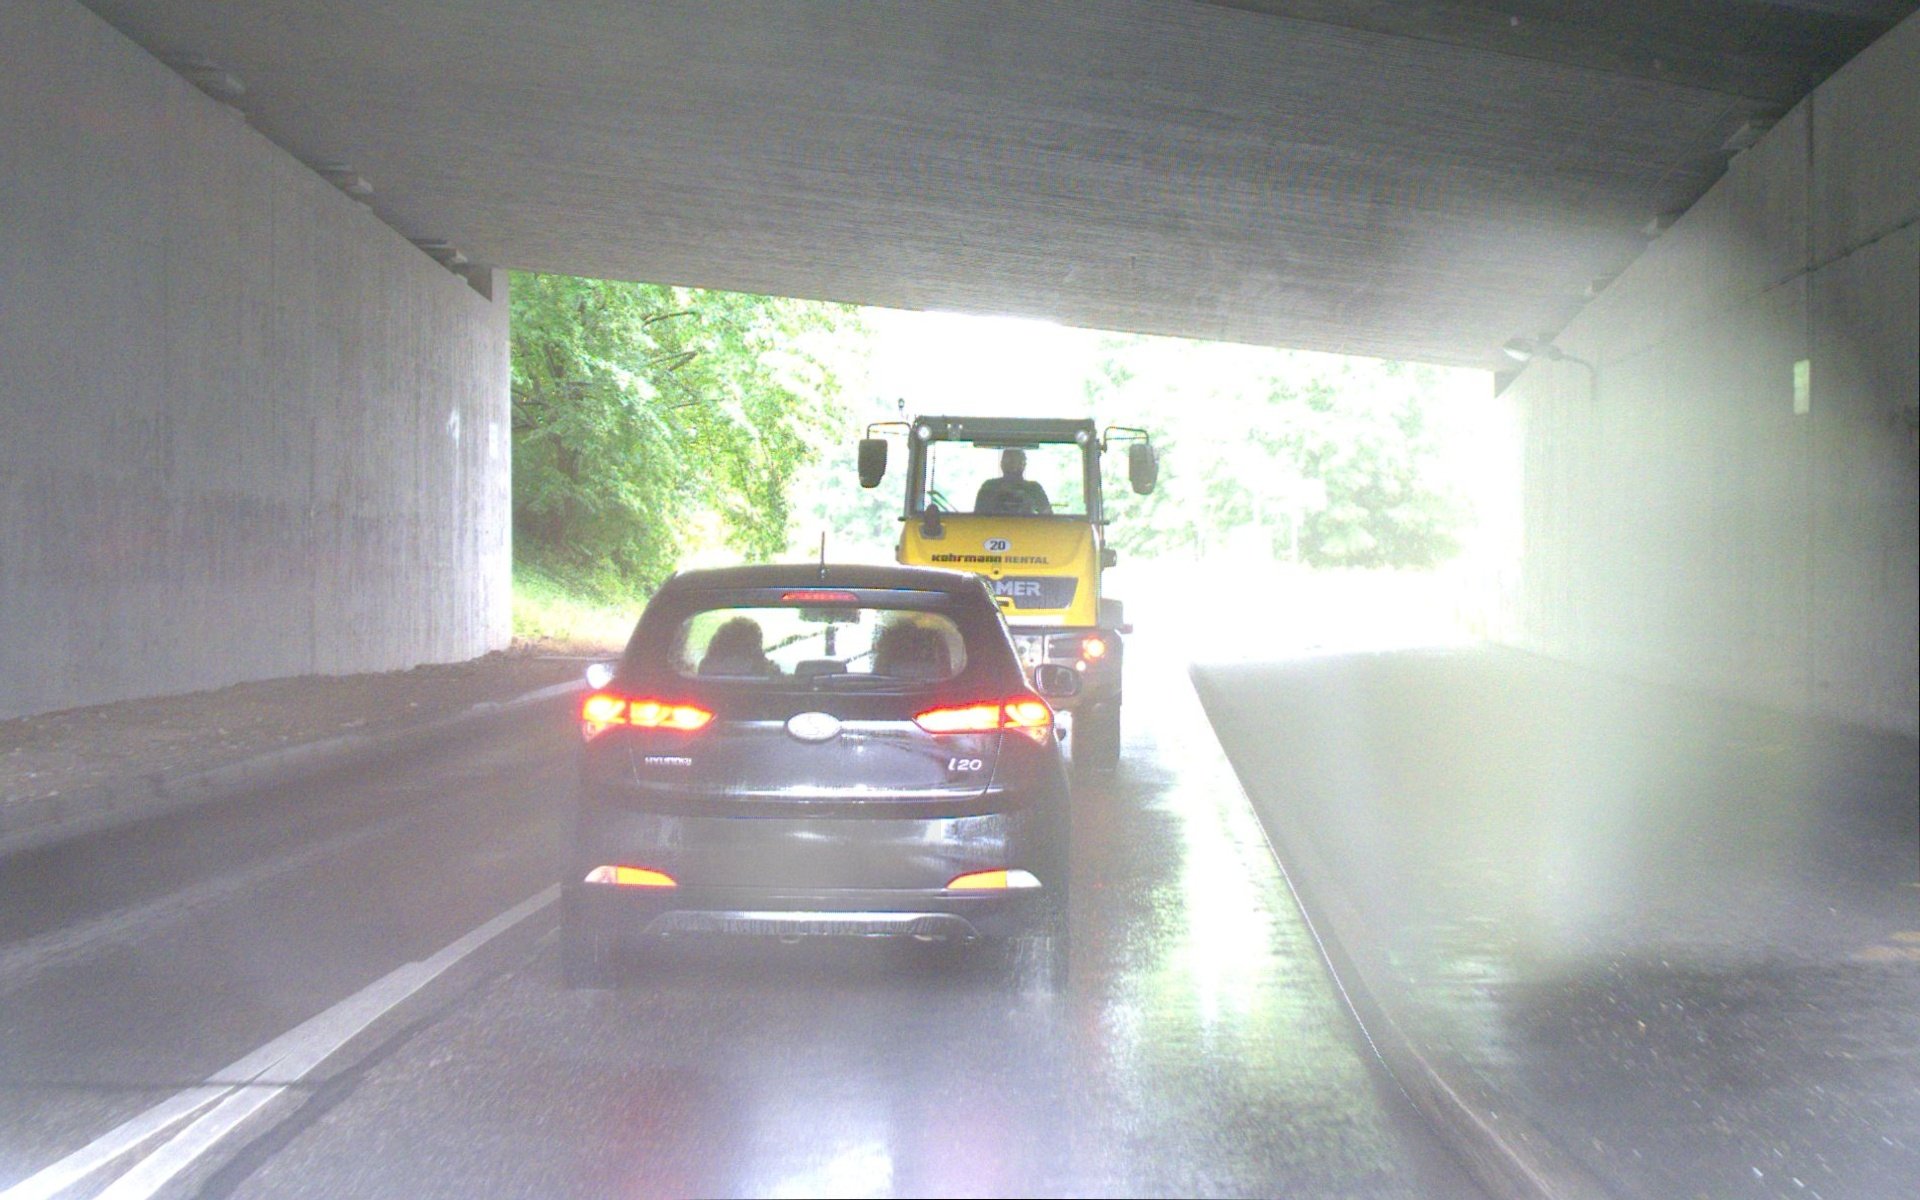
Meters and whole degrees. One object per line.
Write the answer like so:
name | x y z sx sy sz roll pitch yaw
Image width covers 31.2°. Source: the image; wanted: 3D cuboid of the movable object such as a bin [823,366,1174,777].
movable object such as a bin | 0.353 -0.236 26.149 2.246 2.660 6.626 2 1 2

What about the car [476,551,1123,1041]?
car | -0.523 0.589 12.836 1.993 1.482 4.000 2 1 0
